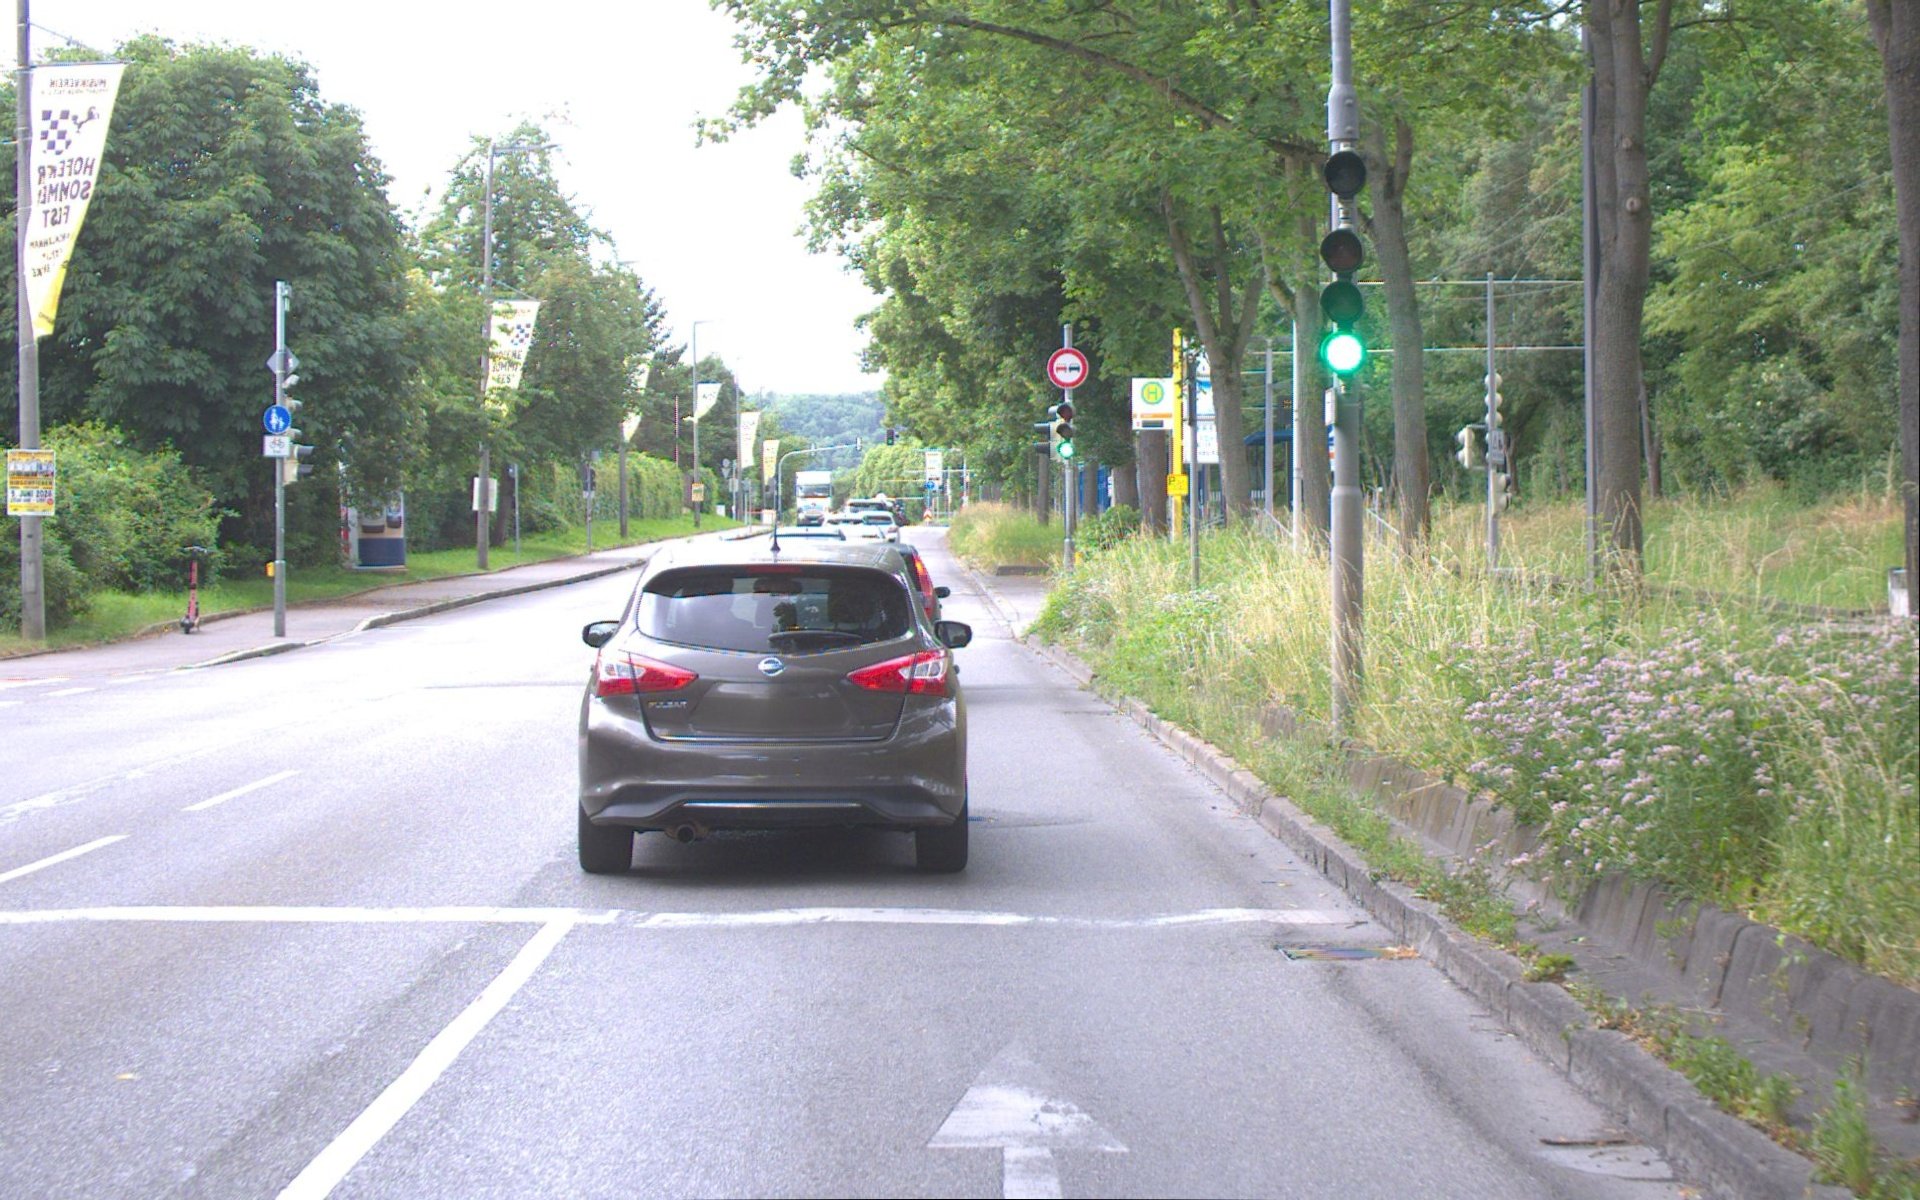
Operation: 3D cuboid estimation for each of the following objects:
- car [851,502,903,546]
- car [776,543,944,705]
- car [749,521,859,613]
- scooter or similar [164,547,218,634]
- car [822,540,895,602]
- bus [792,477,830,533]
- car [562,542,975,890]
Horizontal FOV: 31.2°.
[{"bbox_3d":[-2.751,-2.520,114.006,1.691,1.436,3.542,0,1,-1],"label":"car"},{"bbox_3d":[-0.933,0.188,32.666,1.502,1.436,3.542,0,1,-1],"label":"car"},{"bbox_3d":[-2.499,-0.557,55.673,1.691,1.436,3.542,0,1,-1],"label":"car"},{"bbox_3d":[-11.296,-0.143,50.532,0.462,1.254,1.426,0,1,0],"label":"scooter or similar"},{"bbox_3d":[-2.416,-0.712,82.323,1.691,1.436,3.542,0,1,-1],"label":"car"},{"bbox_3d":[-10.818,-6.882,249.954,2.487,4.012,10.218,0,1,-1],"label":"bus"},{"bbox_3d":[-0.842,0.475,16.699,1.783,1.501,3.696,0,1,0],"label":"car"}]
